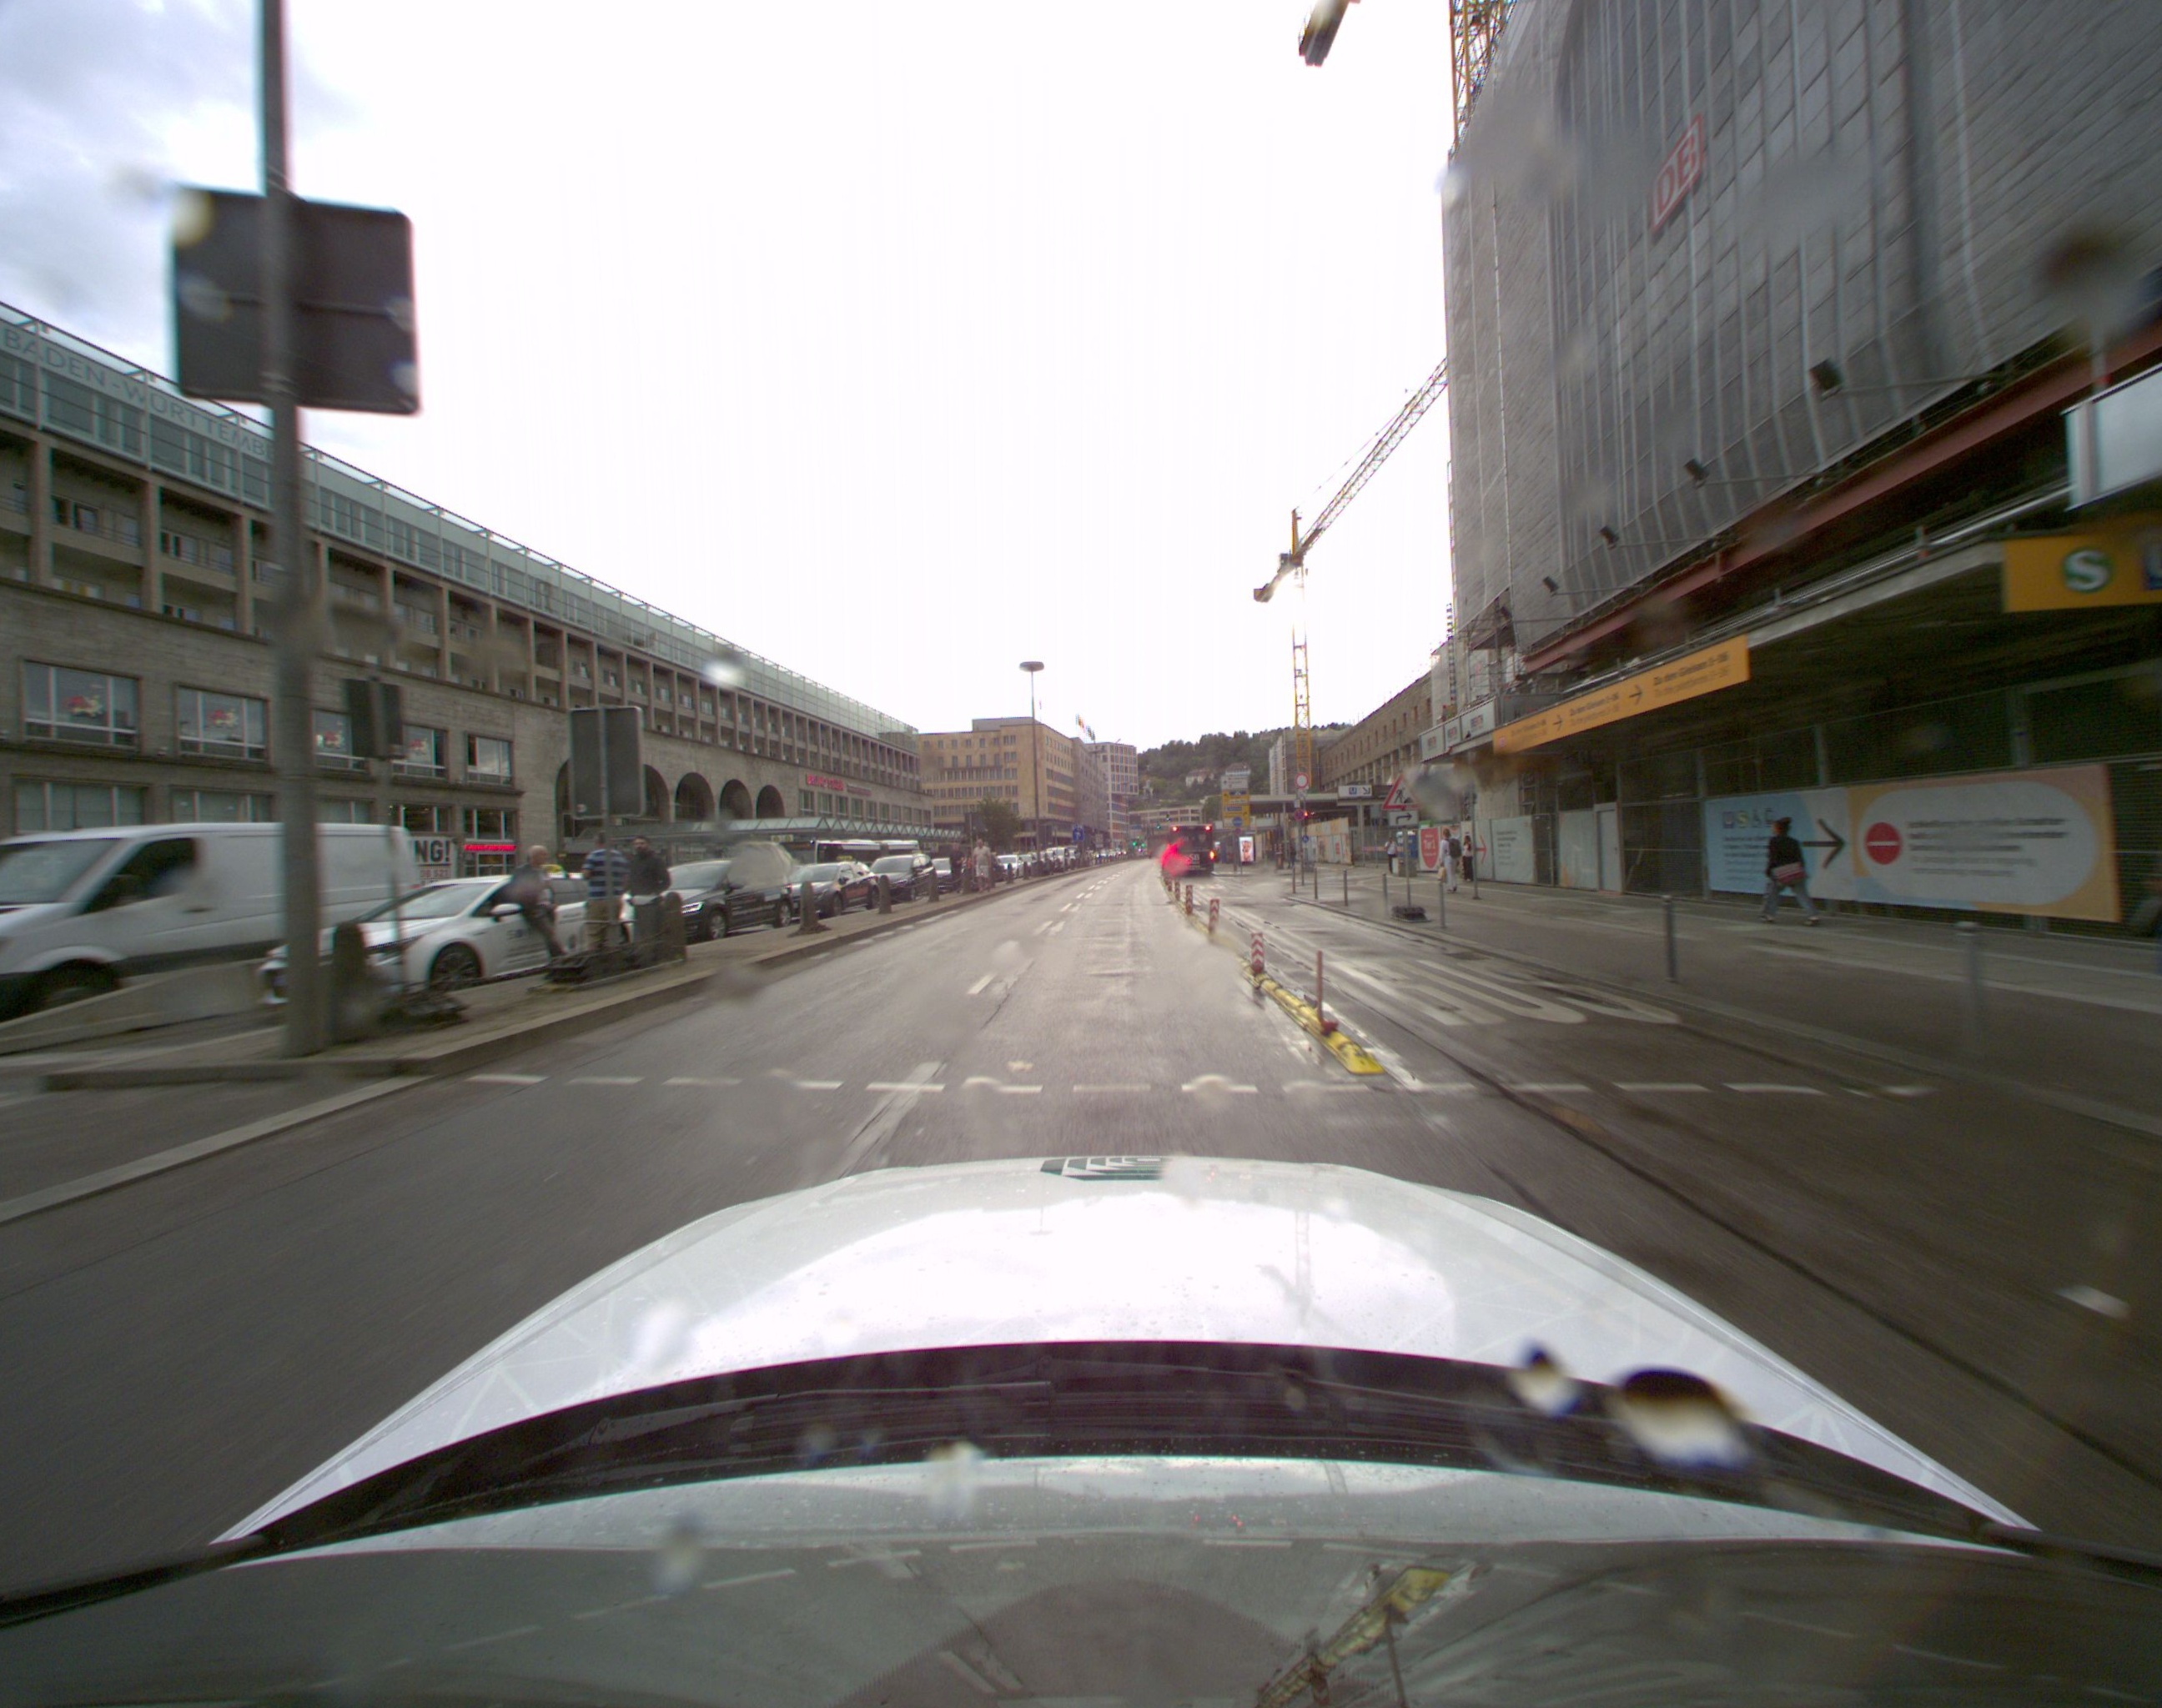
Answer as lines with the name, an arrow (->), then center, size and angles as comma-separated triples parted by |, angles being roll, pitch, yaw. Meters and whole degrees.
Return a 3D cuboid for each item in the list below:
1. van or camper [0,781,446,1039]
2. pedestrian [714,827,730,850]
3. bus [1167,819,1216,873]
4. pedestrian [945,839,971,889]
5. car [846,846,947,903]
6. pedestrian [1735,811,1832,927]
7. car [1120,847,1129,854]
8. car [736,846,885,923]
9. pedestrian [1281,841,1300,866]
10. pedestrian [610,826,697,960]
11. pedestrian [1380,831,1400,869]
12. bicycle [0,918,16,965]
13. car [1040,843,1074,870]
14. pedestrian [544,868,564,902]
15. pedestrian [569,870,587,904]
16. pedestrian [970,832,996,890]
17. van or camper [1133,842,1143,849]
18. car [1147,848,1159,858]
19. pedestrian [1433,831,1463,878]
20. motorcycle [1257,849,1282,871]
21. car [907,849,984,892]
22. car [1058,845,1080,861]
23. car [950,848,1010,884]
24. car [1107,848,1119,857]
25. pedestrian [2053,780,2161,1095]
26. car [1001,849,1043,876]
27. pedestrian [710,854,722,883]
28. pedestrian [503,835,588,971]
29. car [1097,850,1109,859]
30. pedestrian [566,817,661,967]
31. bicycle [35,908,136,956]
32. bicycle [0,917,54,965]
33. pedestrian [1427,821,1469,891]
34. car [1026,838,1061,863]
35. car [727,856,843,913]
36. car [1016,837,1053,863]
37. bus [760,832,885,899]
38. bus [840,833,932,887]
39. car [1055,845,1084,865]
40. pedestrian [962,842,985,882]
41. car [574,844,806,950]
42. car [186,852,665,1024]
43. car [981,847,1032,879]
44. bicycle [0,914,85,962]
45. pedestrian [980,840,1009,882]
van or camper -> -11.345, 0.590, 10.280 | 1.985, 2.514, 5.376 | -5, 0, 4
pedestrian -> -24.240, -1.054, 55.010 | 0.627, 1.567, 0.758 | -1, 1, 7
bus -> 6.862, -0.484, 51.366 | 2.741, 3.068, 9.096 | -1, 0, 6
pedestrian -> -4.410, 0.345, 29.245 | 0.695, 1.754, 0.712 | -2, 0, 5
car -> -6.189, 0.632, 27.927 | 1.920, 1.690, 4.689 | -4, 0, 5
pedestrian -> 10.578, 0.210, 12.300 | 0.546, 1.632, 0.997 | -5, 0, 5
car -> 11.251, -0.818, 211.883 | 1.952, 1.564, 4.844 | -4, 1, 6
car -> -6.943, 0.700, 21.524 | 1.920, 1.690, 4.689 | -4, 0, 5
pedestrian -> 13.683, -0.036, 53.145 | 0.898, 1.635, 0.833 | -2, 0, 33
pedestrian -> -5.998, 0.534, 11.473 | 0.781, 1.775, 0.605 | -5, 0, -7
pedestrian -> 15.461, -0.224, 40.805 | 0.641, 1.847, 0.660 | -5, 0, 5
bicycle -> -31.876, 2.567, 23.353 | 1.702, 1.325, 0.580 | -2, 0, -4
car -> -2.015, 0.154, 70.104 | 1.983, 2.178, 5.555 | -3, 0, 7
pedestrian -> -31.575, 1.844, 48.784 | 0.573, 2.013, 0.710 | -3, 0, 4
pedestrian -> -30.990, 2.038, 50.176 | 0.573, 2.013, 0.710 | -3, 0, 4
pedestrian -> -3.476, 0.236, 28.910 | 0.719, 2.007, 0.774 | -1, 1, 5
van or camper -> 15.466, -2.298, 220.264 | 1.982, 2.013, 5.203 | -2, 0, 9
car -> 12.436, -0.177, 140.537 | 1.983, 1.552, 4.008 | -3, 0, 7
pedestrian -> 12.562, 0.019, 27.900 | 0.648, 1.539, 0.666 | -5, 0, 6
motorcycle -> 10.506, 0.329, 45.476 | 0.579, 1.166, 1.627 | -1, 0, 44
car -> -5.667, 0.644, 34.787 | 1.920, 1.576, 5.268 | -4, 0, 5
car -> -1.292, -0.098, 88.292 | 1.985, 1.552, 4.004 | -3, 0, 3
car -> -5.006, 0.566, 41.099 | 1.921, 1.576, 5.019 | -4, 0, 5
car -> 6.383, -0.356, 160.899 | 1.952, 1.564, 4.844 | -4, 1, 6
pedestrian -> 6.288, 0.459, 4.609 | 0.558, 1.759, 0.750 | -5, 0, -8
car -> -3.792, 0.496, 53.182 | 1.921, 1.576, 5.059 | -4, 0, 5
pedestrian -> -19.375, 0.754, 43.249 | 0.586, 1.507, 0.621 | -1, 1, -24
pedestrian -> -6.937, 0.617, 10.569 | 0.648, 1.711, 0.593 | -1, 1, 3
car -> 4.568, 0.076, 168.887 | 1.952, 1.564, 4.844 | -4, 1, 6
pedestrian -> -5.826, 0.455, 10.166 | 0.552, 1.775, 0.757 | -5, 0, 39
bicycle -> -31.040, 2.430, 25.412 | 2.202, 1.325, 0.591 | -2, 0, -4
bicycle -> -31.424, 2.559, 23.945 | 1.558, 1.325, 0.571 | -2, 0, -4
pedestrian -> 10.260, 0.049, 22.786 | 0.719, 1.847, 0.811 | -5, 0, 5
car -> -2.914, -0.284, 64.442 | 1.920, 1.806, 4.591 | -4, 0, 7
car -> -10.271, 0.993, 28.689 | 1.920, 1.690, 4.689 | -4, 0, 5
car -> -3.330, -0.310, 59.431 | 1.921, 1.698, 4.892 | -4, 0, 5
bus -> -14.752, 0.532, 47.758 | 2.863, 3.376, 10.593 | -2, 1, 6
bus -> -13.657, 0.316, 58.293 | 2.863, 3.459, 10.593 | -2, 1, 6
car -> -1.054, 0.090, 76.287 | 1.983, 1.722, 4.792 | -3, 0, 7
pedestrian -> -4.411, 0.335, 33.545 | 0.719, 1.606, 0.997 | -1, 1, 5
car -> -7.441, 0.726, 16.165 | 1.920, 1.690, 4.689 | -4, 0, 5
car -> -7.934, 0.860, 10.706 | 2.005, 1.621, 4.850 | -2, 1, 5
car -> -4.262, 0.480, 47.403 | 1.967, 1.659, 5.199 | -4, 0, 5
bicycle -> -31.623, 2.544, 24.656 | 1.923, 1.325, 0.679 | -2, 0, -4
pedestrian -> -3.729, 0.289, 35.122 | 1.045, 1.768, 0.617 | -2, 0, 4
